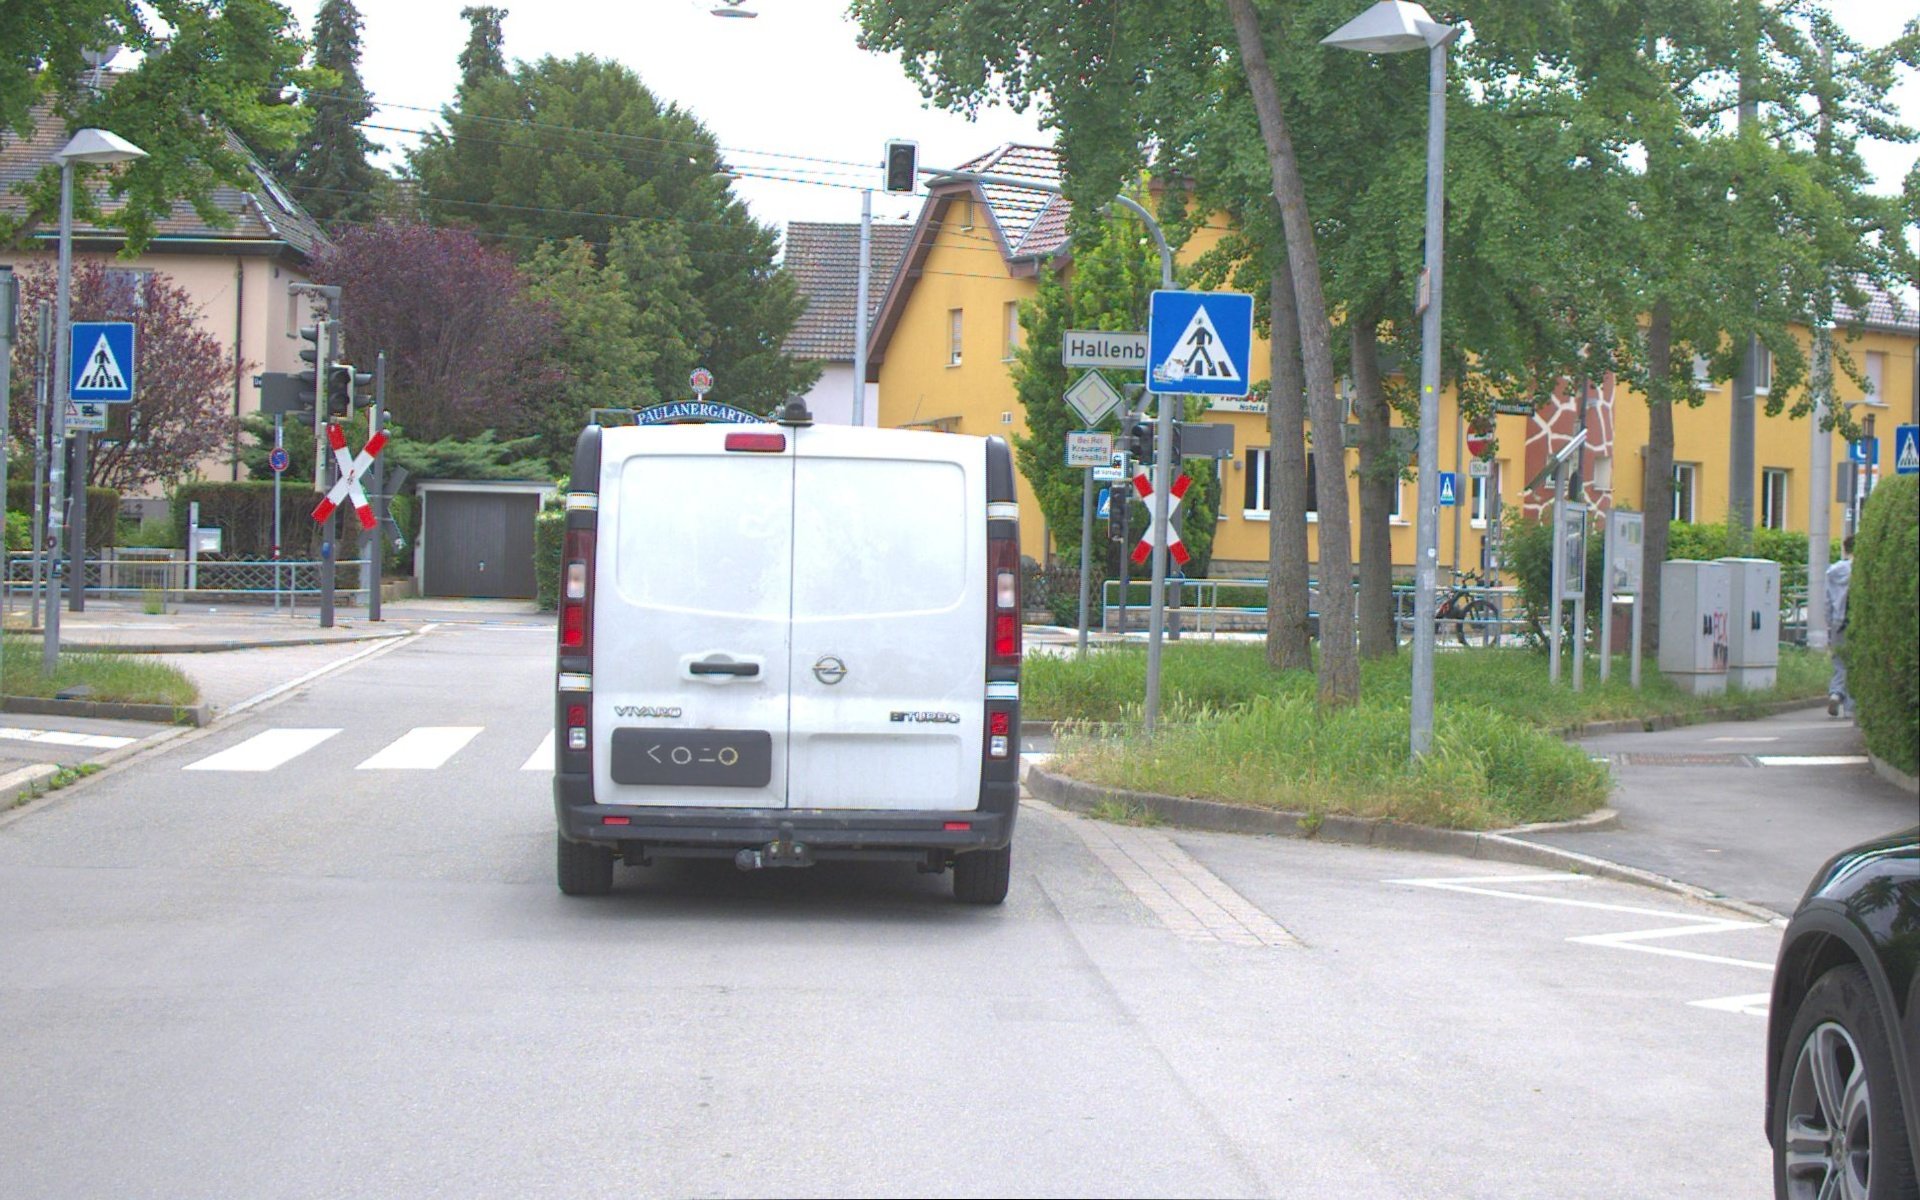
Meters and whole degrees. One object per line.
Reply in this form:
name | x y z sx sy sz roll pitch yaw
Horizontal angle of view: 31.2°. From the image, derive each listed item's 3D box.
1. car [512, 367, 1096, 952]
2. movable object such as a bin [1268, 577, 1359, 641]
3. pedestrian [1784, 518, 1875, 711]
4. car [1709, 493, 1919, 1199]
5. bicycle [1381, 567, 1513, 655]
car | -0.808 0.175 15.666 2.116 2.127 5.442 2 1 -5
movable object such as a bin | 4.780 0.122 46.552 1.091 0.822 0.580 2 1 -7
pedestrian | 8.732 0.137 34.529 0.625 1.908 0.829 1 1 33
car | 2.723 0.687 5.127 1.846 1.631 4.467 3 1 -5
bicycle | 6.622 0.145 46.725 1.686 1.151 0.467 1 0 -11
